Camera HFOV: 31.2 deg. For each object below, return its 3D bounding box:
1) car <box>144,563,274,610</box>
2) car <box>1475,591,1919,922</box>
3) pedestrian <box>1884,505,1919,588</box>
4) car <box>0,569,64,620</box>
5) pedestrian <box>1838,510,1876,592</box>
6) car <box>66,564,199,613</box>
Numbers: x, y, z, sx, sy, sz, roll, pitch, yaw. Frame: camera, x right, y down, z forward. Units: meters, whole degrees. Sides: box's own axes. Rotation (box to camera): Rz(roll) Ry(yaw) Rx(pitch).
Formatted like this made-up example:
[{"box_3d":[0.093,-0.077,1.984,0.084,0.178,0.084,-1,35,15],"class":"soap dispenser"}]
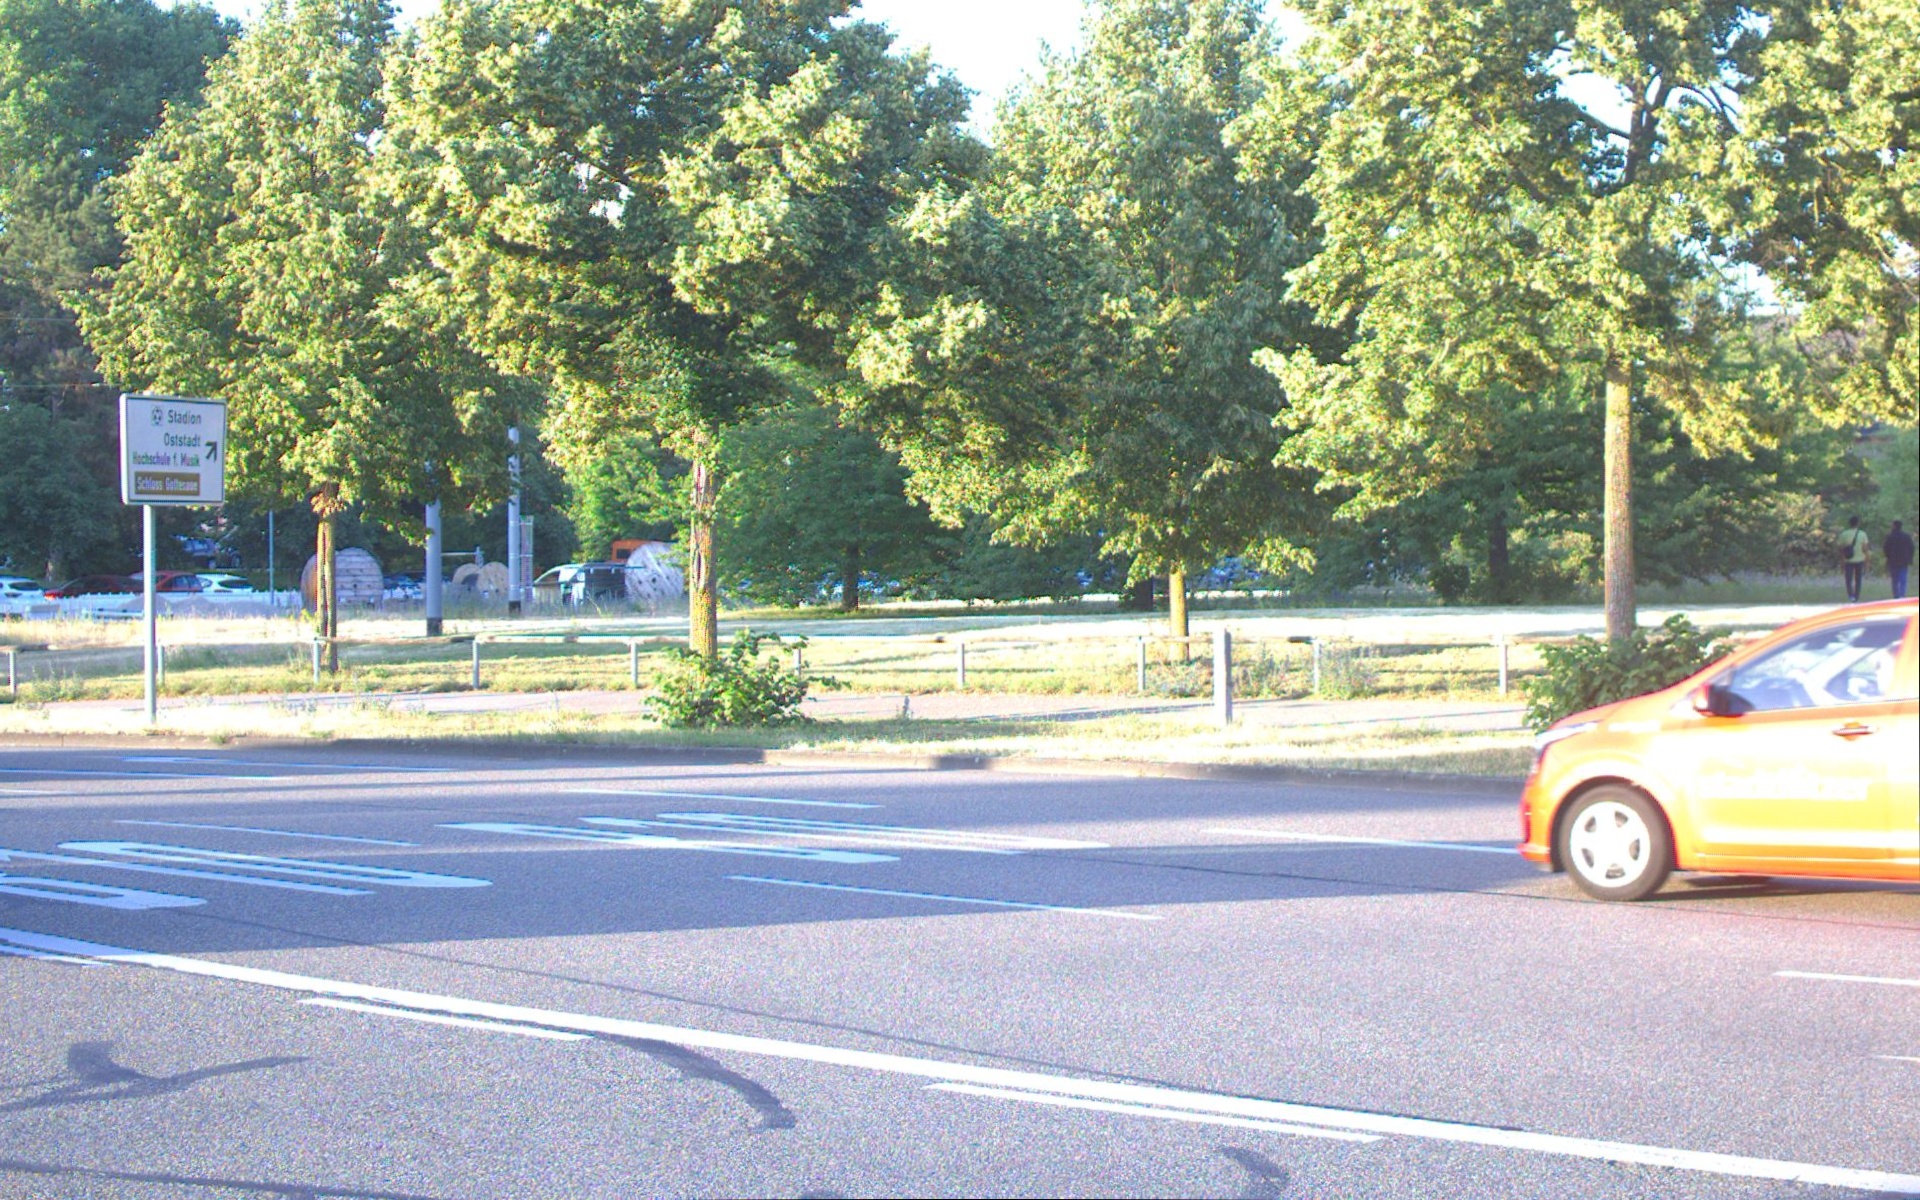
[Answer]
[{"box_3d":[-25.357,-0.461,116.048,3.994,1.545,1.997,0,1,31],"class":"car"},{"box_3d":[4.469,0.701,16.321,3.628,1.478,1.723,0,0,38],"class":"car"},{"box_3d":[18.593,-1.060,67.825,0.530,1.621,0.619,0,1,35],"class":"pedestrian"},{"box_3d":[-30.311,-0.192,107.941,3.994,1.545,1.997,0,1,31],"class":"car"},{"box_3d":[17.730,-0.968,67.956,0.532,1.621,0.579,0,1,37],"class":"pedestrian"},{"box_3d":[-27.310,-0.391,113.440,3.994,1.545,1.997,0,1,31],"class":"car"}]
